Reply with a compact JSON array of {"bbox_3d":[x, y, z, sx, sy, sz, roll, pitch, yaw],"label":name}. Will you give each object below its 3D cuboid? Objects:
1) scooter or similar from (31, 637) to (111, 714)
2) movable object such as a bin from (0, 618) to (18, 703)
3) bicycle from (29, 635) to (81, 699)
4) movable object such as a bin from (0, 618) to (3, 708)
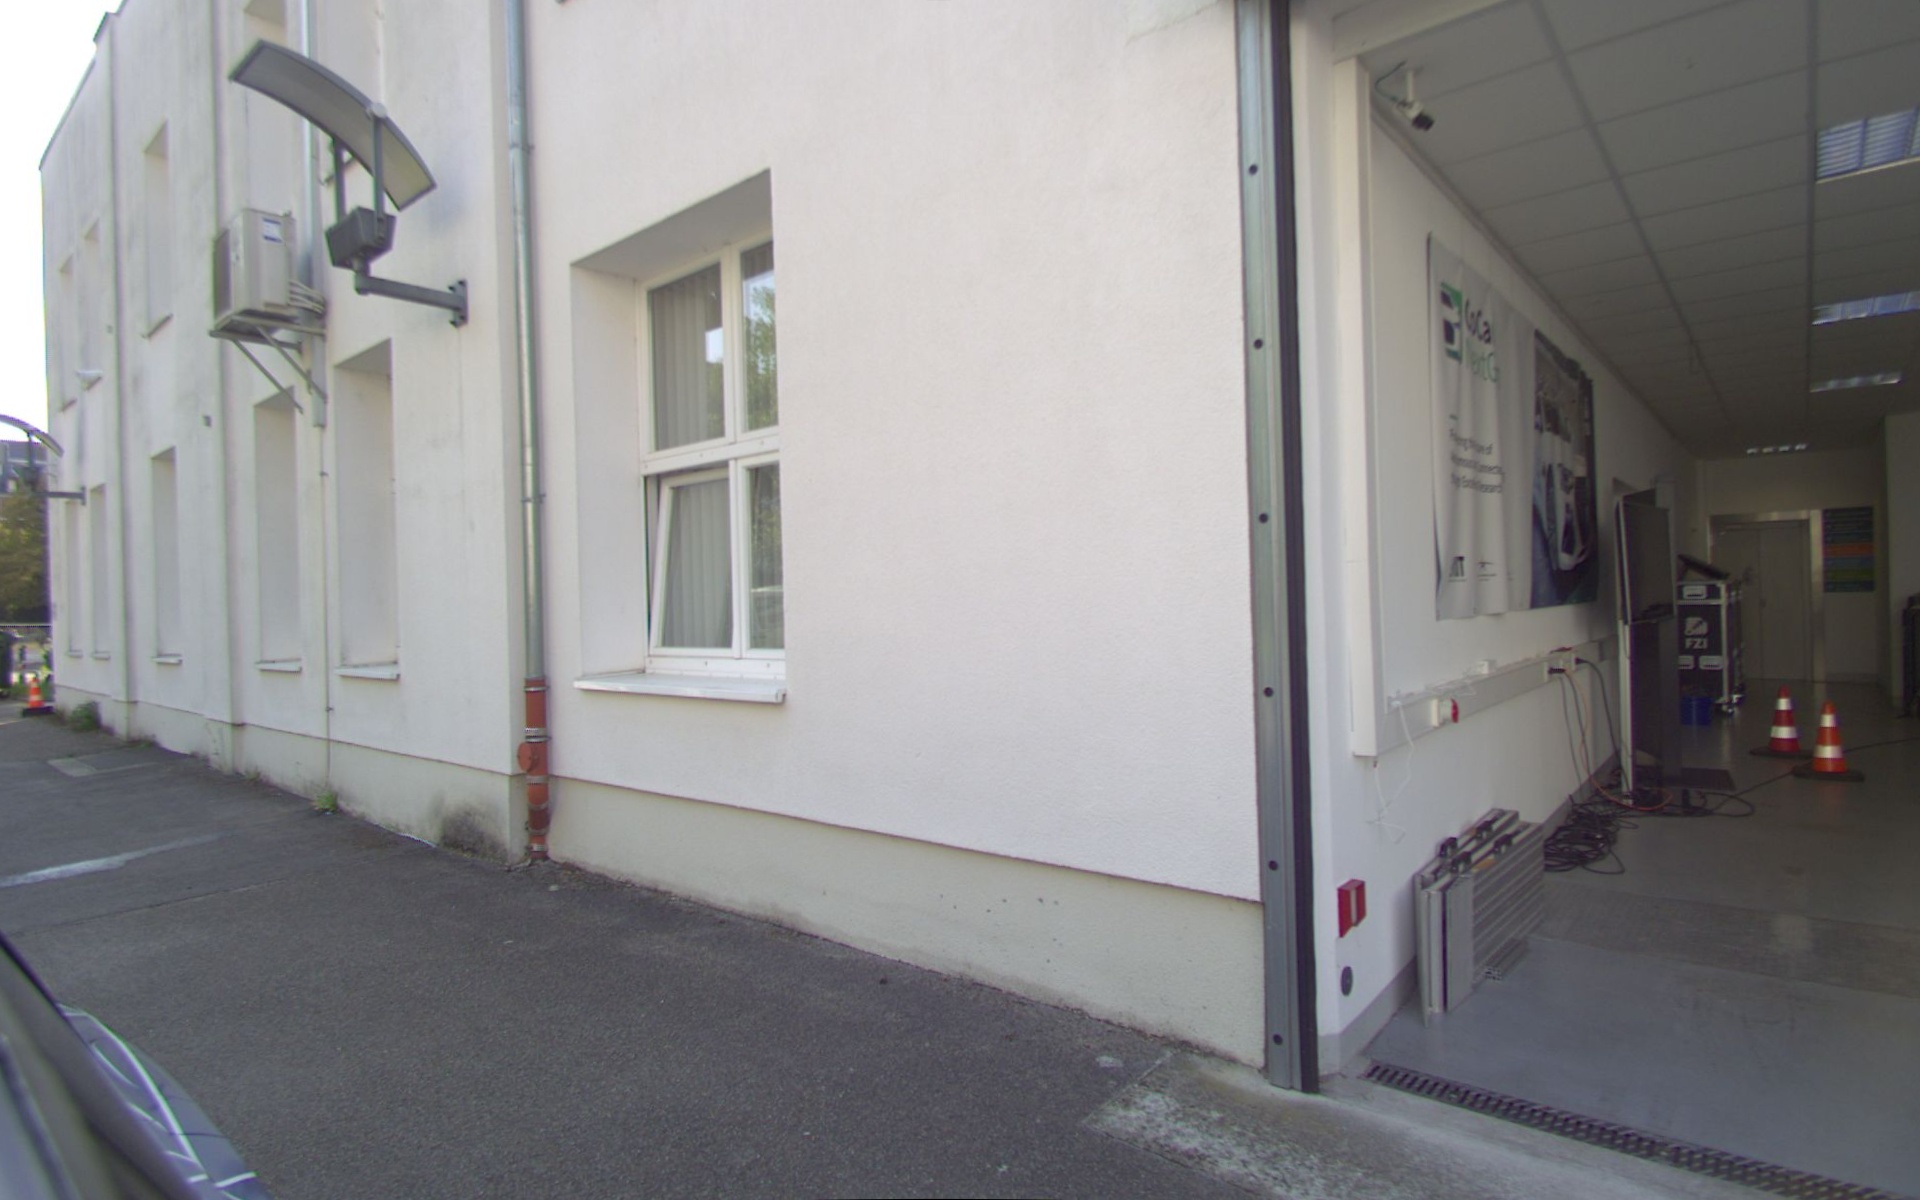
[{"bbox_3d":[-15.289,1.291,17.406,1.485,1.272,0.383,-2,0,21],"label":"scooter or similar"},{"bbox_3d":[-20.270,1.262,20.737,1.375,1.718,1.170,-2,0,37],"label":"movable object such as a bin"},{"bbox_3d":[-18.301,1.336,20.448,2.006,1.222,0.471,-2,0,40],"label":"bicycle"},{"bbox_3d":[-19.389,1.237,19.600,1.395,1.718,1.167,-2,0,45],"label":"movable object such as a bin"}]
